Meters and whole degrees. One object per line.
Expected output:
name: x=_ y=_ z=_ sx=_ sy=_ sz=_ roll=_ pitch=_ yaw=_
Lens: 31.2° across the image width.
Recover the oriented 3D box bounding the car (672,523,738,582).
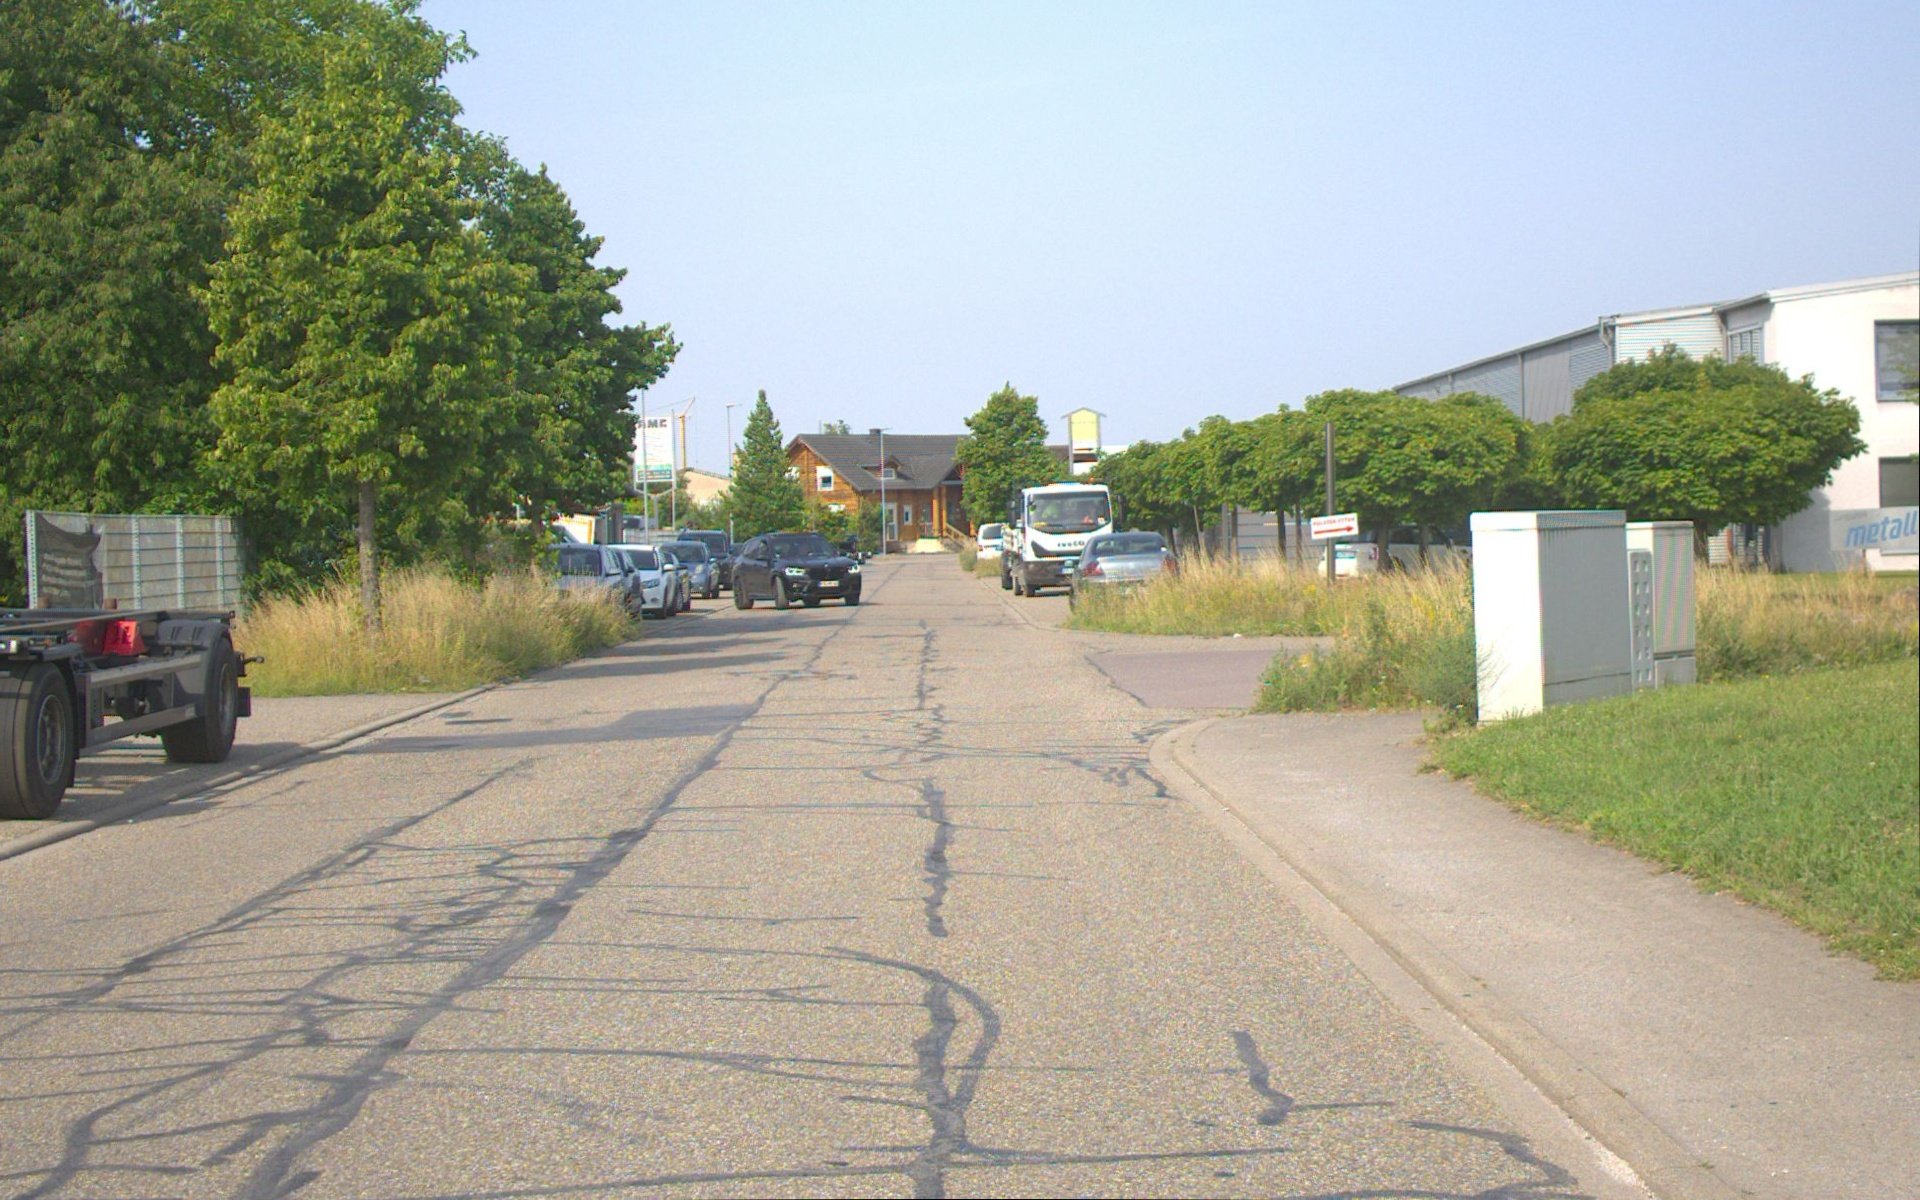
car: x=-7.788 y=-1.481 z=105.229 sx=1.800 sy=1.768 sz=4.203 roll=0 pitch=1 yaw=-1

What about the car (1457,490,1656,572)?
car: x=12.297 y=-1.430 z=70.722 sx=4.522 sy=1.583 sz=1.686 roll=-3 pitch=2 yaw=-45

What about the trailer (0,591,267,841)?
trailer: x=-6.406 y=0.621 z=20.991 sx=2.582 sy=1.180 sz=9.364 roll=0 pitch=1 yaw=-1

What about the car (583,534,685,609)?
car: x=-6.528 y=-0.596 z=69.154 sx=1.683 sy=1.464 sz=4.254 roll=0 pitch=1 yaw=0

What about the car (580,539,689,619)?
car: x=-6.028 y=-0.415 z=64.009 sx=1.578 sy=1.438 sz=3.963 roll=0 pitch=1 yaw=1

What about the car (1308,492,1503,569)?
car: x=8.711 y=-1.361 z=67.097 sx=3.687 sy=1.375 sz=1.687 roll=-3 pitch=2 yaw=-40

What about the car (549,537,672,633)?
car: x=-5.947 y=-0.277 z=58.799 sx=1.566 sy=1.533 sz=3.688 roll=-1 pitch=1 yaw=2

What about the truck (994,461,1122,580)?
truck: x=2.287 y=-1.900 z=82.142 sx=2.359 sy=2.672 sz=6.512 roll=-2 pitch=1 yaw=-4

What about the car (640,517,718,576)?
car: x=-7.431 y=-1.427 z=91.174 sx=1.633 sy=1.512 sz=3.605 roll=0 pitch=1 yaw=2

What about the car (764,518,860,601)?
car: x=-3.277 y=-0.925 z=76.681 sx=1.856 sy=1.709 sz=4.227 roll=-3 pitch=1 yaw=0

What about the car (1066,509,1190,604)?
car: x=2.830 y=-0.763 z=58.631 sx=1.794 sy=1.512 sz=4.424 roll=-2 pitch=1 yaw=-1

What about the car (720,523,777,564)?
car: x=-7.268 y=-1.960 z=118.162 sx=1.800 sy=1.382 sz=3.638 roll=0 pitch=1 yaw=-1

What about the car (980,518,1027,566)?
car: x=1.803 y=-2.450 z=144.424 sx=1.837 sy=1.917 sz=3.756 roll=-2 pitch=1 yaw=0
